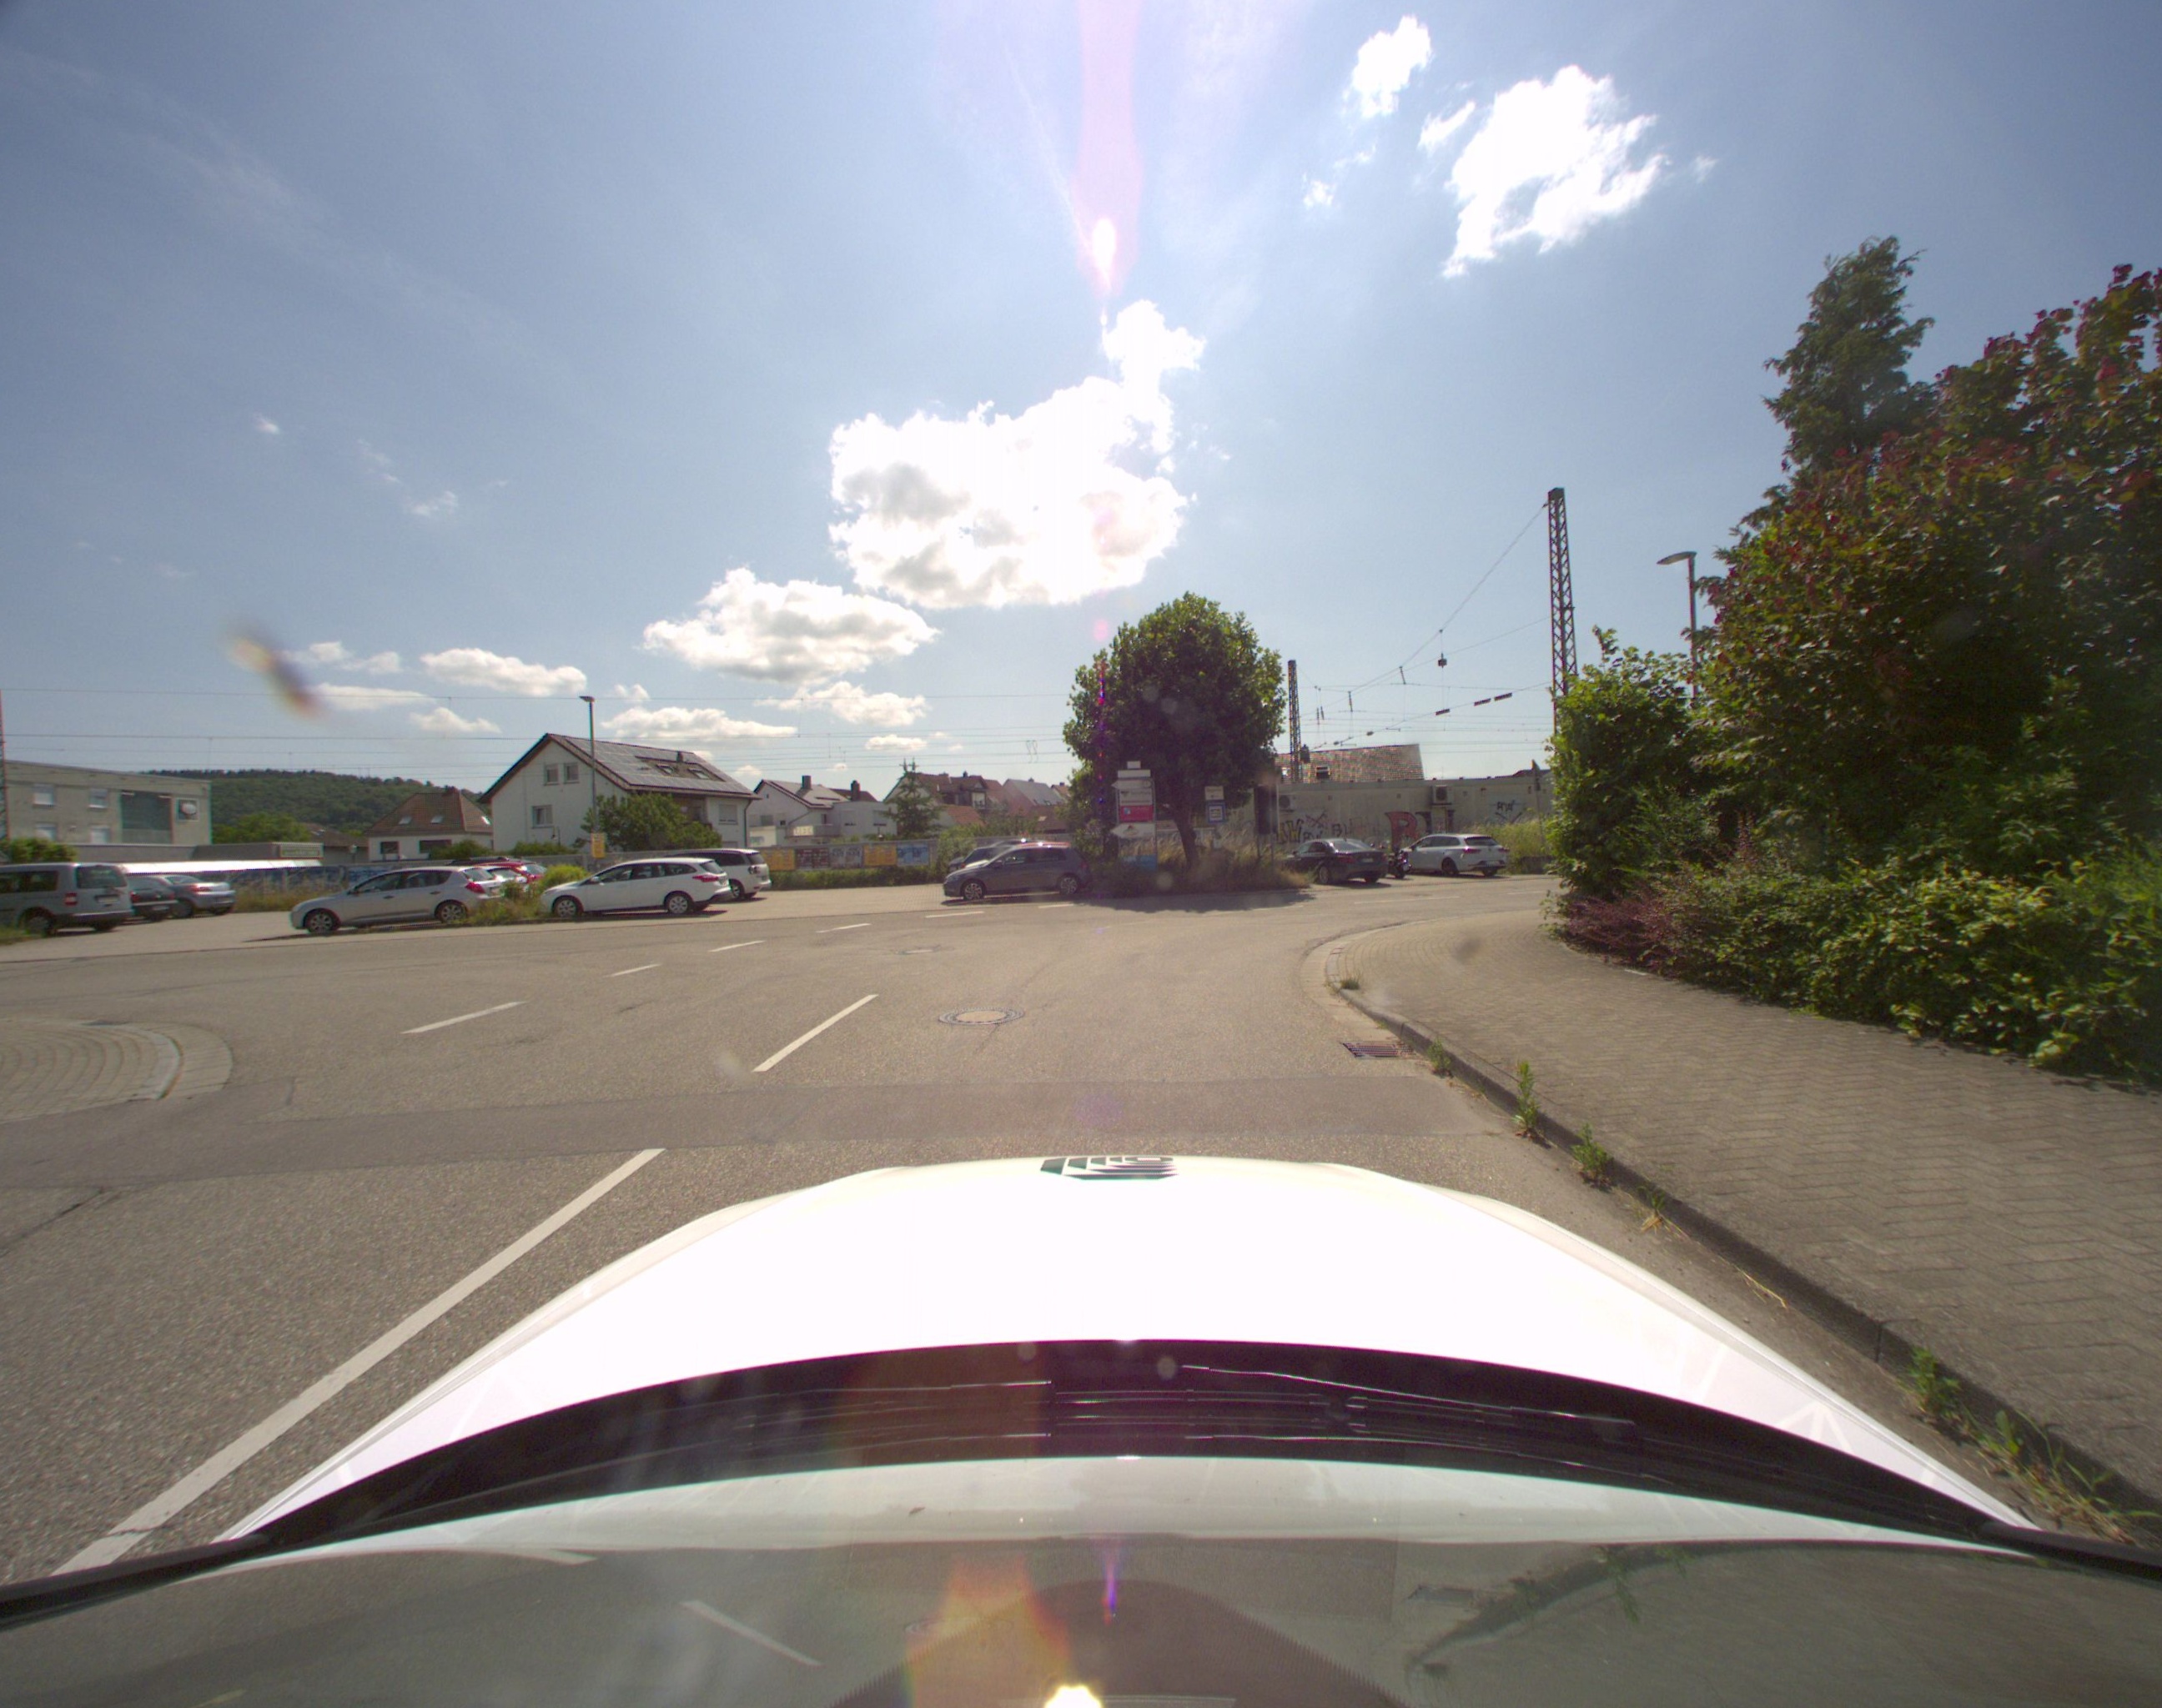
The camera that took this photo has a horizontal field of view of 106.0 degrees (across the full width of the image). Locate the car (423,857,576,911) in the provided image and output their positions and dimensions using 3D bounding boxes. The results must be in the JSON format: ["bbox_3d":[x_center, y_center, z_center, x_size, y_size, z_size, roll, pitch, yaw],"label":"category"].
[{"bbox_3d":[-19.475,0.963,27.437,3.836,1.589,1.490,-2,0,-14],"label":"car"}]

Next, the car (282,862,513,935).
[{"bbox_3d":[-17.072,1.068,20.579,4.009,1.562,1.813,-2,0,-16],"label":"car"}]

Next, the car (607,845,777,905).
[{"bbox_3d":[-12.354,0.638,26.145,4.447,1.690,1.996,-2,1,-7],"label":"car"}]

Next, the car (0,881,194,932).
[{"bbox_3d":[-28.701,1.503,23.662,3.657,1.222,1.669,-2,0,-8],"label":"car"}]

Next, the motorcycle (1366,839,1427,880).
[{"bbox_3d":[10.411,0.156,26.984,0.898,1.228,1.987,-2,2,-14],"label":"motorcycle"}]

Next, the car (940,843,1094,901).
[{"bbox_3d":[-1.820,0.489,23.166,4.183,1.463,1.661,-1,0,-7],"label":"car"}]

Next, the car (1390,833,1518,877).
[{"bbox_3d":[12.580,-0.019,27.733,1.707,1.377,4.091,-1,2,-17],"label":"car"}]

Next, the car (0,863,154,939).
[{"bbox_3d":[-27.363,1.180,21.147,3.987,1.815,1.899,0,1,-10],"label":"car"}]

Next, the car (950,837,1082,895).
[{"bbox_3d":[-2.072,0.365,25.857,3.984,1.586,1.775,-2,0,-7],"label":"car"}]

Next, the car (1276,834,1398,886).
[{"bbox_3d":[8.075,0.122,26.100,1.756,1.385,3.977,-1,4,-18],"label":"car"}]

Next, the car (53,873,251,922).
[{"bbox_3d":[-29.273,1.334,25.769,3.983,1.420,1.680,0,0,-7],"label":"car"}]

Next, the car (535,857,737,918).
[{"bbox_3d":[-11.586,0.837,21.499,4.283,1.477,1.821,0,0,-10],"label":"car"}]

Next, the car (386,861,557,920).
[{"bbox_3d":[-18.629,1.074,25.076,3.785,1.558,1.688,-2,0,-12],"label":"car"}]

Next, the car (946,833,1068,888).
[{"bbox_3d":[-2.577,0.210,28.195,3.984,1.657,1.995,-2,0,-8],"label":"car"}]

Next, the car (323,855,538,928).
[{"bbox_3d":[-18.039,0.993,22.835,4.168,1.638,1.945,-4,0,-15],"label":"car"}]

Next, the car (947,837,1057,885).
[{"bbox_3d":[-2.984,0.239,30.685,3.984,1.730,1.765,0,0,-8],"label":"car"}]
